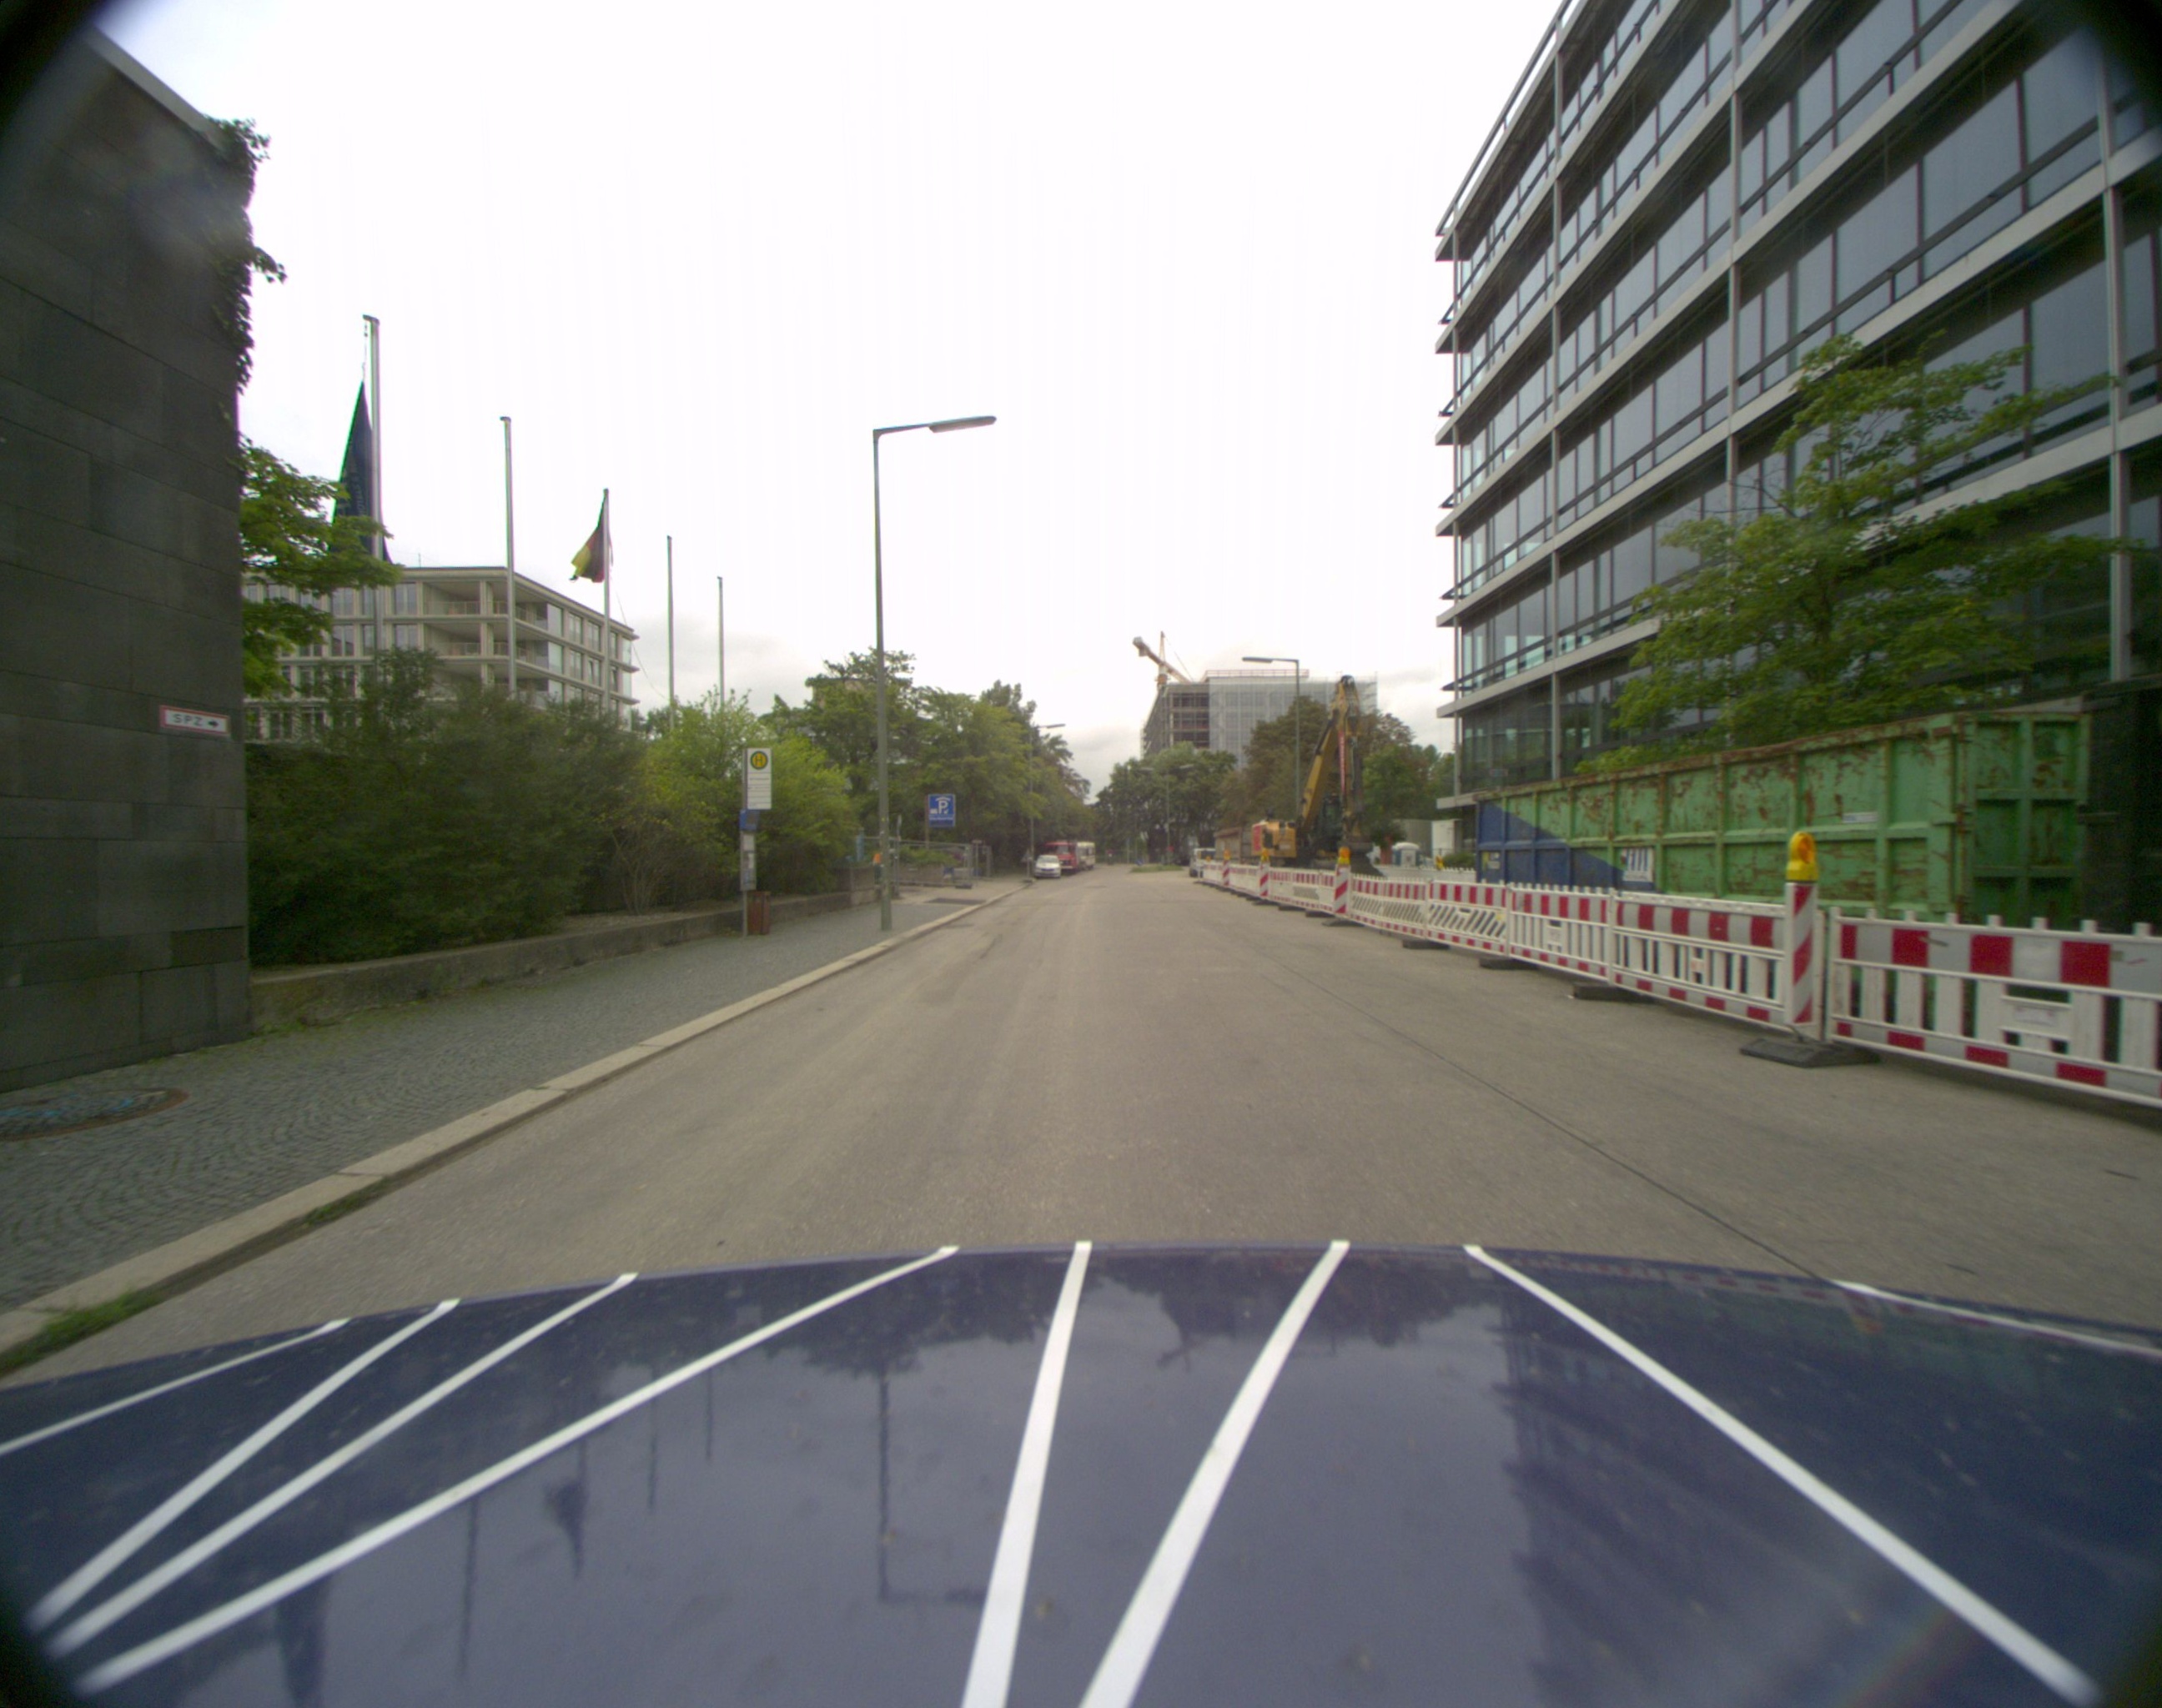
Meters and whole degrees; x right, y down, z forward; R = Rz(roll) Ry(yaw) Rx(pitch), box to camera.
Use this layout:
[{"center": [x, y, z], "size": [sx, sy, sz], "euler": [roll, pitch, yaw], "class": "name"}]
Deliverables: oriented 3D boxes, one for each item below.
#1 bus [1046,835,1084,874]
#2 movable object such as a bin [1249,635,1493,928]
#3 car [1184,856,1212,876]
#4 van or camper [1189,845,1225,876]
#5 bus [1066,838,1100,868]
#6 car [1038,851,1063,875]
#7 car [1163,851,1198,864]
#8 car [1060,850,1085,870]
[{"center": [-1.152, 0.018, 56.892], "size": [2.077, 2.789, 6.274], "euler": [0, 0, 6], "class": "bus"}, {"center": [7.749, -1.660, 22.846], "size": [2.911, 6.526, 11.782], "euler": [0, 1, 1], "class": "movable object such as a bin"}, {"center": [9.036, 0.902, 58.808], "size": [1.997, 1.450, 4.122], "euler": [2, 1, 8], "class": "car"}, {"center": [8.747, 0.455, 53.264], "size": [1.993, 2.022, 5.588], "euler": [1, 0, 5], "class": "van or camper"}, {"center": [0.249, -0.108, 70.509], "size": [2.076, 2.714, 5.871], "euler": [0, 0, 10], "class": "bus"}, {"center": [-1.957, 0.563, 50.024], "size": [1.536, 1.483, 4.059], "euler": [0, 1, -1], "class": "car"}, {"center": [12.420, 0.379, 94.859], "size": [3.891, 1.564, 1.786], "euler": [0, 2, -21], "class": "car"}, {"center": [-0.667, 0.511, 63.305], "size": [1.782, 1.630, 4.399], "euler": [0, 0, 4], "class": "car"}]
